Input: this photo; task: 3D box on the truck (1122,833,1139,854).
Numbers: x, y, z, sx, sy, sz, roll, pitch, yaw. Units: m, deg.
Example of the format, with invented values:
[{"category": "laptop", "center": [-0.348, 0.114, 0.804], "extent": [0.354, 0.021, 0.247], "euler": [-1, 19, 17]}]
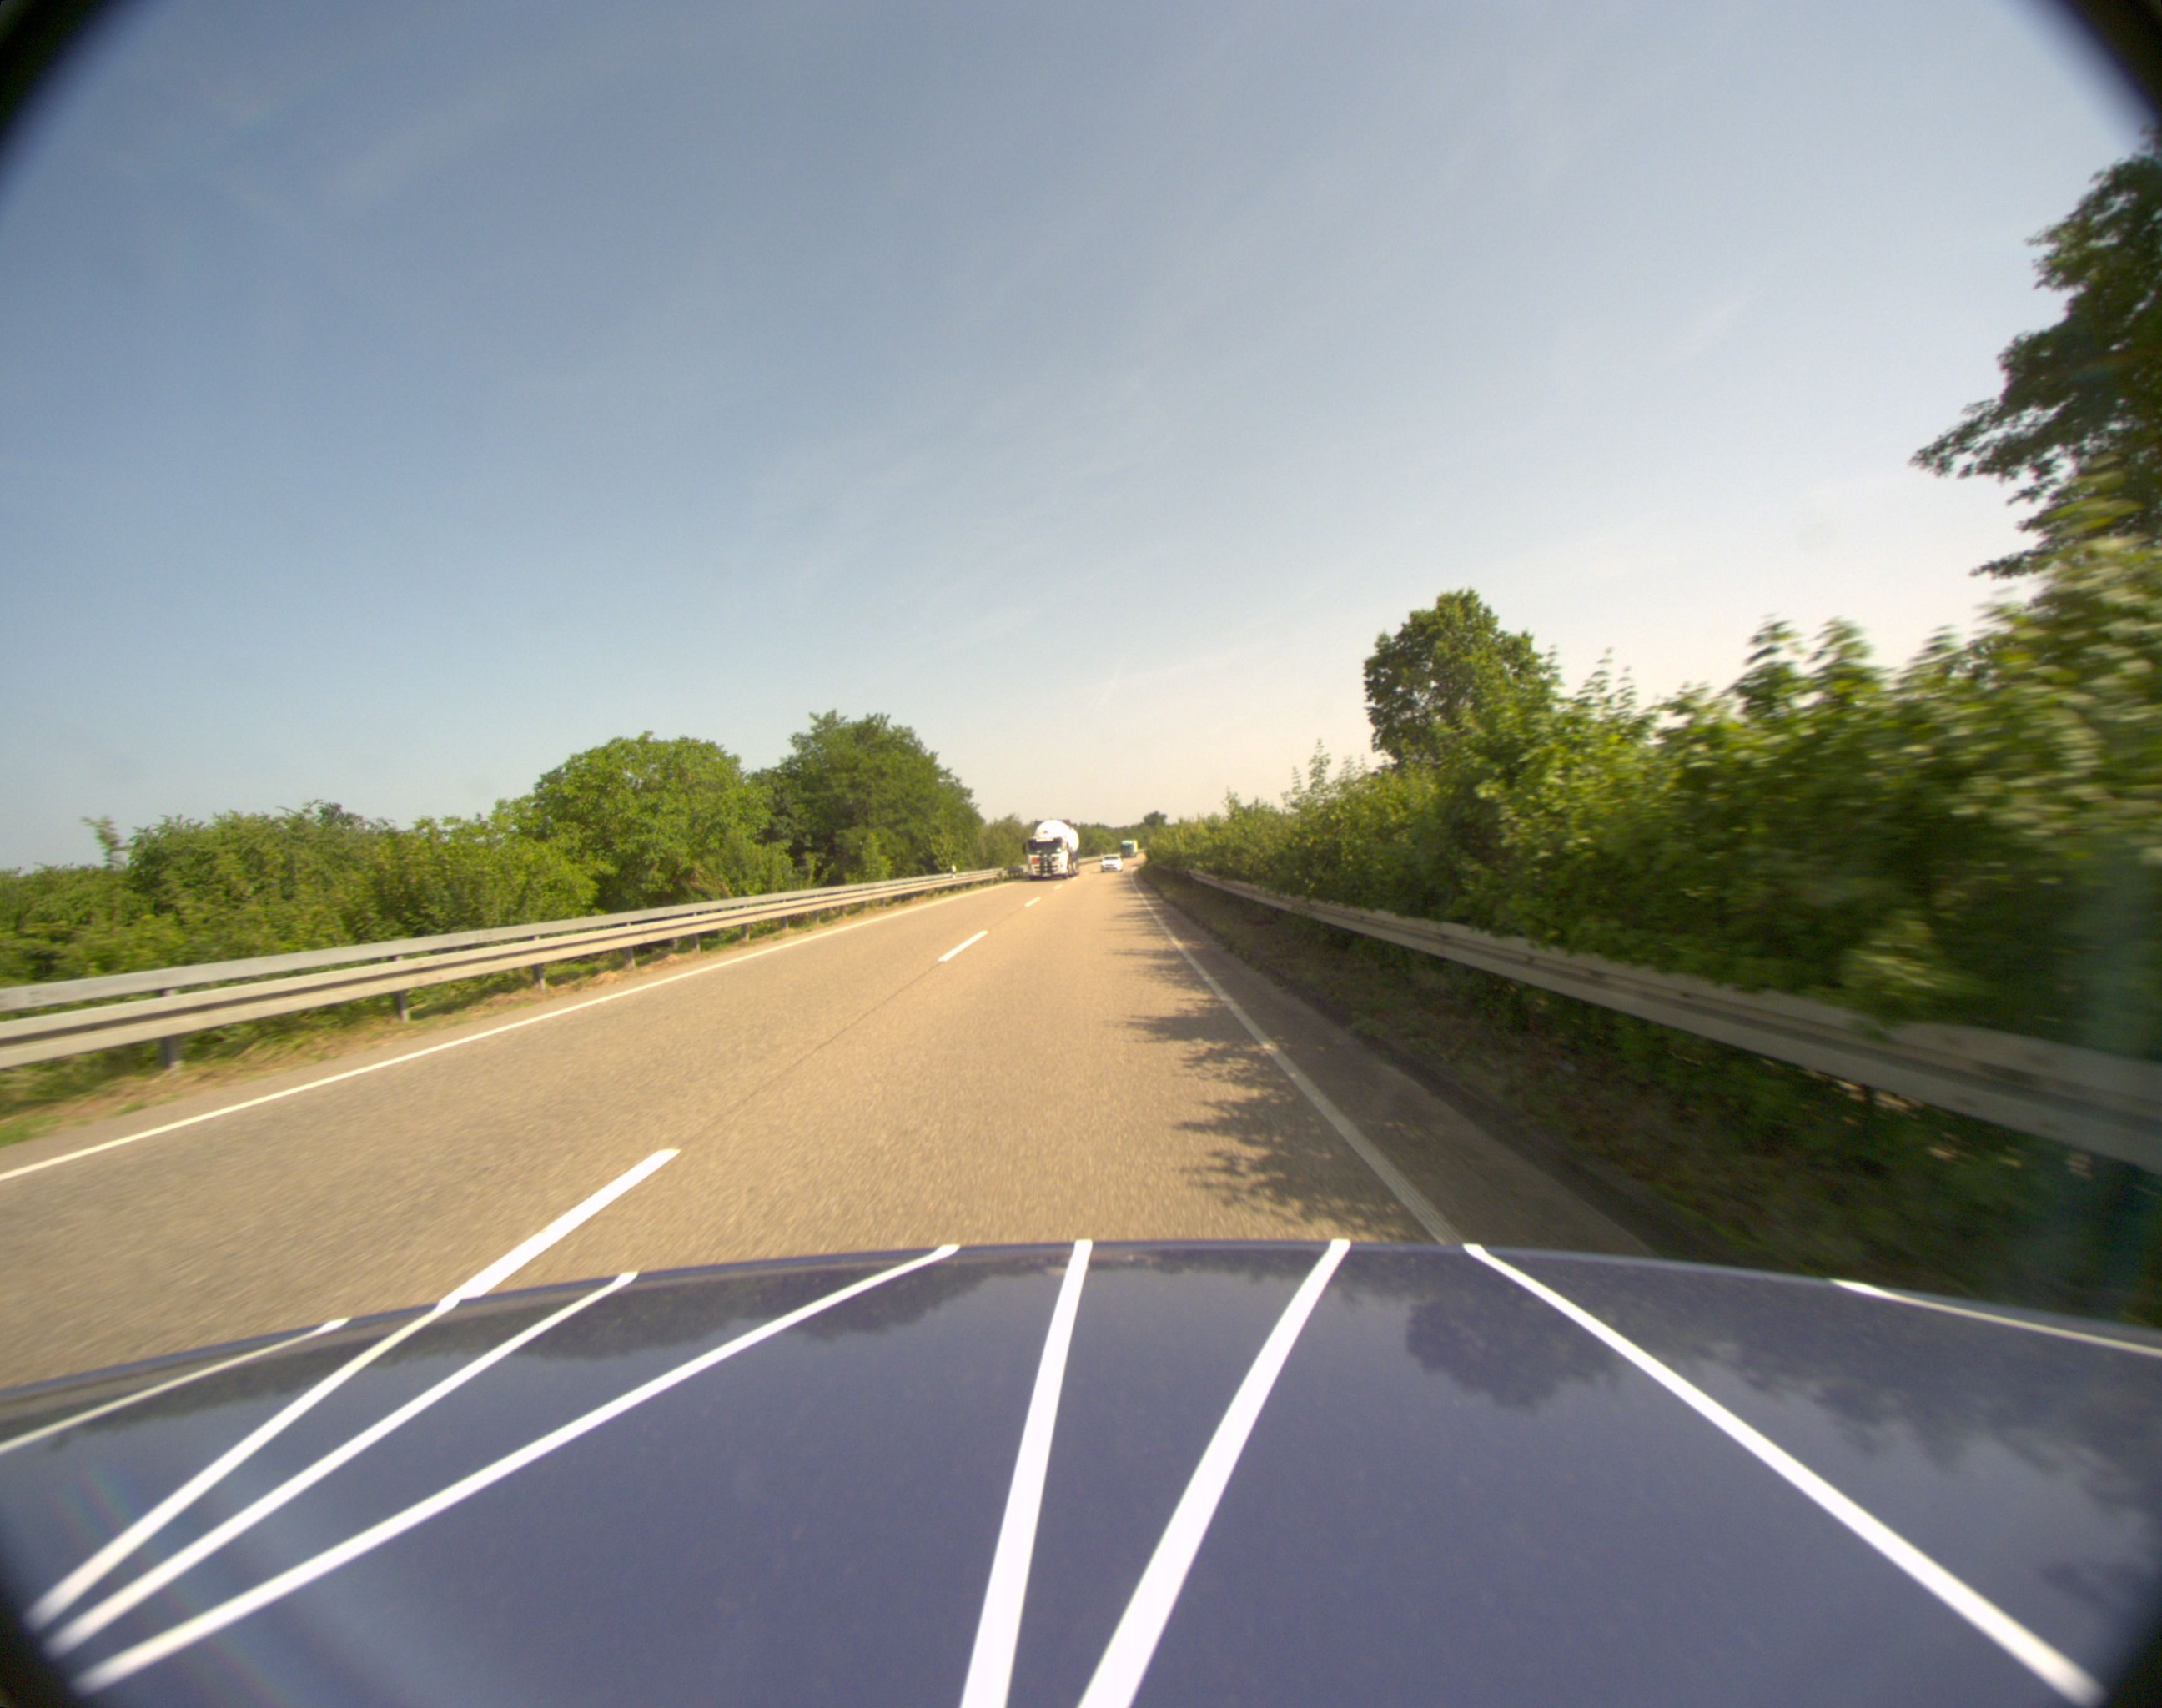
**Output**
[{"category": "truck", "center": [10.102, -2.193, 155.540], "extent": [2.547, 4.136, 8.443], "euler": [-2, 1, 9]}]

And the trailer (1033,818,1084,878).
[{"category": "trailer", "center": [-1.511, -0.478, 55.345], "extent": [2.763, 3.968, 8.187], "euler": [-2, 1, 4]}]

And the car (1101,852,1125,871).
[{"category": "car", "center": [2.715, 0.599, 64.337], "extent": [1.789, 1.427, 4.001], "euler": [-3, 1, 4]}]

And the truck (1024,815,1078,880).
[{"category": "truck", "center": [-1.896, -0.447, 50.115], "extent": [2.778, 3.939, 5.628], "euler": [-2, 1, 4]}]
